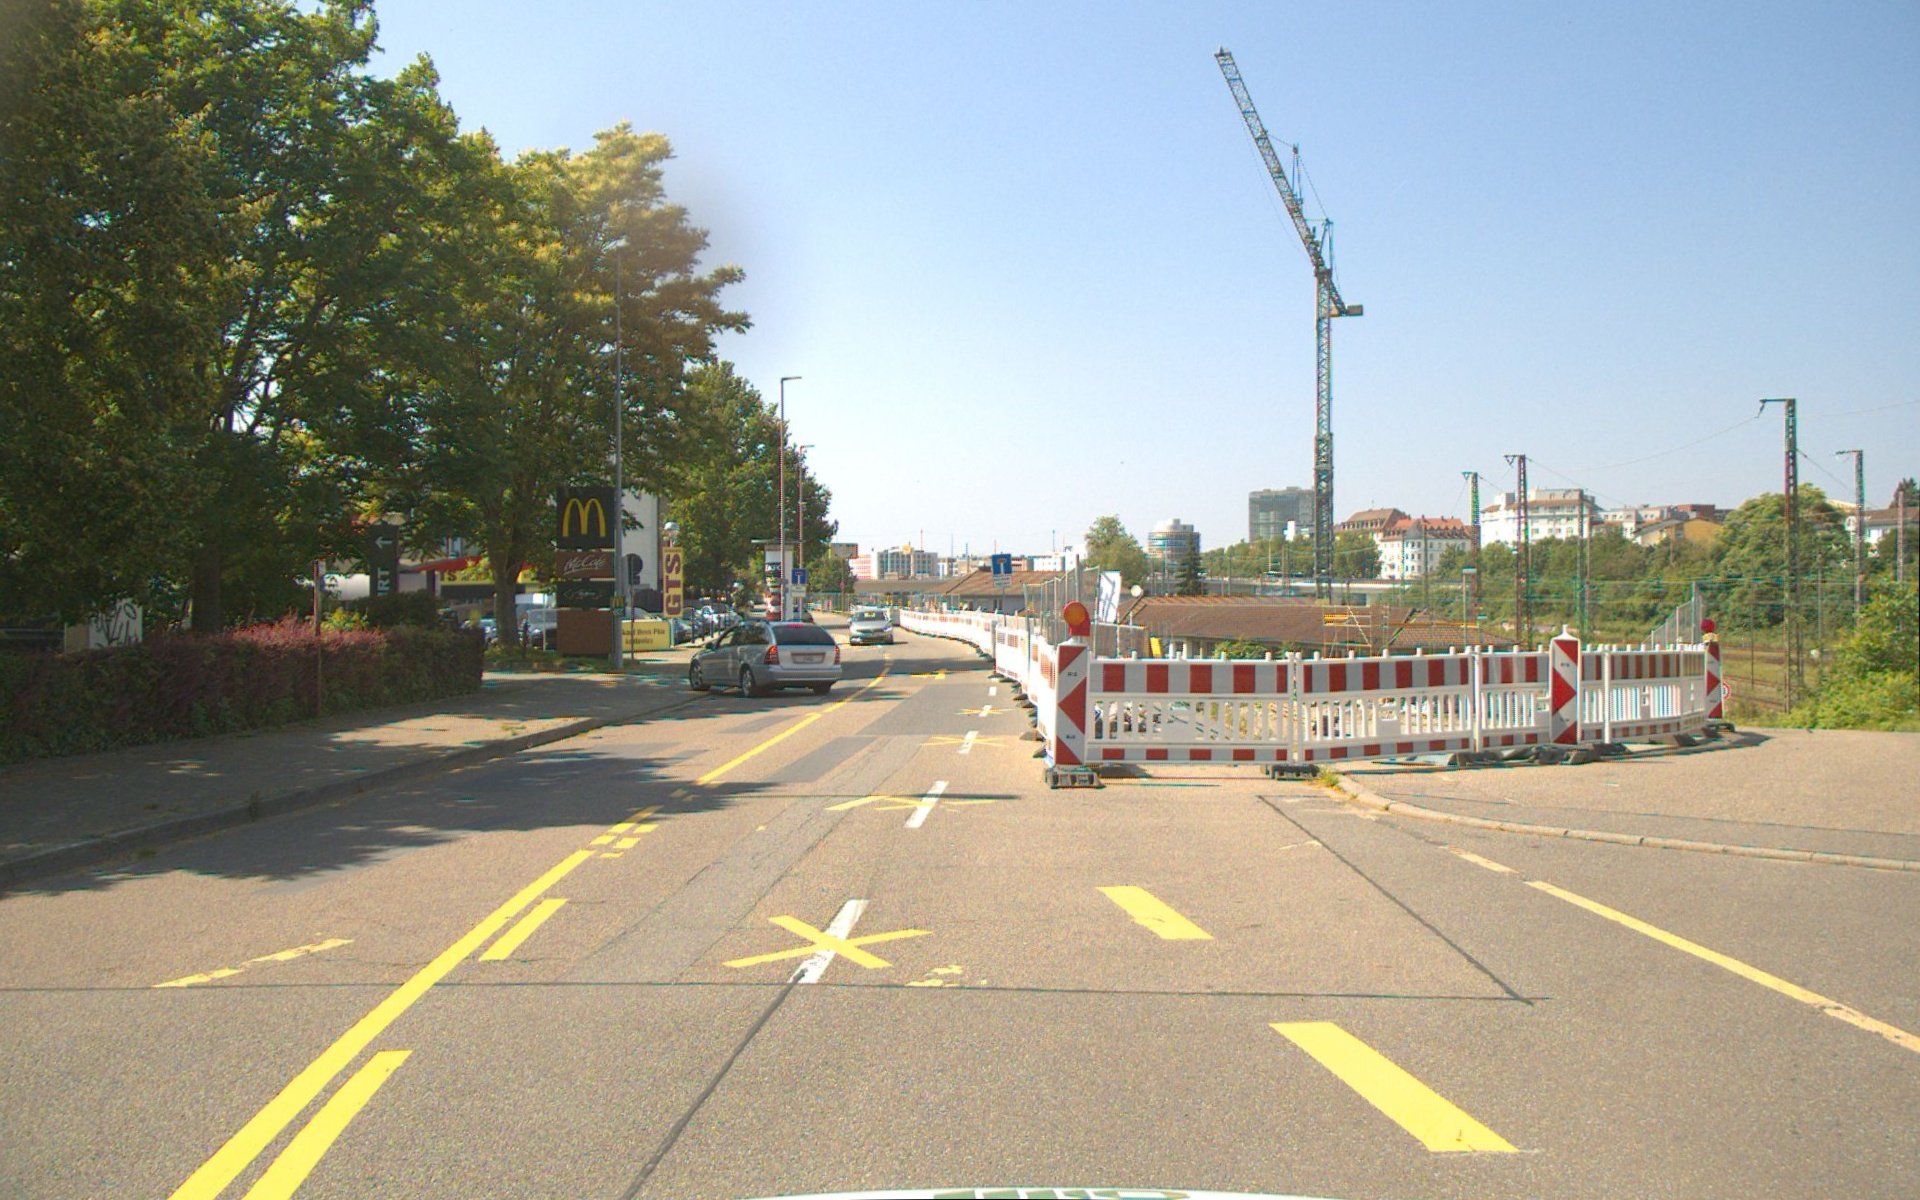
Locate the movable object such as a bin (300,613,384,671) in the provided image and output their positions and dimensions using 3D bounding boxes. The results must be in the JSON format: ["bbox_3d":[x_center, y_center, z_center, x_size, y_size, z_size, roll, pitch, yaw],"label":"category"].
[{"bbox_3d":[-18.399,1.247,49.265,1.733,1.552,1.456,-3,2,20],"label":"movable object such as a bin"}]

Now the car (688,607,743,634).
[{"bbox_3d":[-14.591,1.240,98.519,1.760,1.498,3.954,-3,1,-33],"label":"car"}]

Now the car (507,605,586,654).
[{"bbox_3d":[-16.037,1.163,63.959,2.019,1.737,4.276,-2,-2,-27],"label":"car"}]

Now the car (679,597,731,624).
[{"bbox_3d":[-19.443,0.804,126.061,3.855,1.993,1.753,0,0,-13],"label":"car"}]

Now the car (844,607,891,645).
[{"bbox_3d":[-3.951,1.073,69.972,1.645,1.519,4.598,-1,0,-7],"label":"car"}]

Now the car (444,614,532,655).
[{"bbox_3d":[-20.251,1.455,71.126,1.868,1.602,4.691,-1,0,8],"label":"car"}]

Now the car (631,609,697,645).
[{"bbox_3d":[-13.676,1.229,76.216,1.816,1.498,3.963,-4,1,-28],"label":"car"}]

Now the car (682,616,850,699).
[{"bbox_3d":[-3.841,1.080,32.083,1.690,1.428,4.343,-2,0,-29],"label":"car"}]

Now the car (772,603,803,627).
[{"bbox_3d":[-11.907,1.043,114.568,1.832,1.524,4.030,-2,1,-2],"label":"car"}]

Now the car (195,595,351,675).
[{"bbox_3d":[-19.714,1.019,47.404,4.430,1.953,1.888,-4,0,34],"label":"car"}]

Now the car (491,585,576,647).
[{"bbox_3d":[-20.346,0.771,79.155,2.229,2.806,6.154,-2,-1,2],"label":"car"}]

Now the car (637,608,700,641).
[{"bbox_3d":[-14.414,1.222,81.700,1.762,1.498,3.958,-4,0,-30],"label":"car"}]
